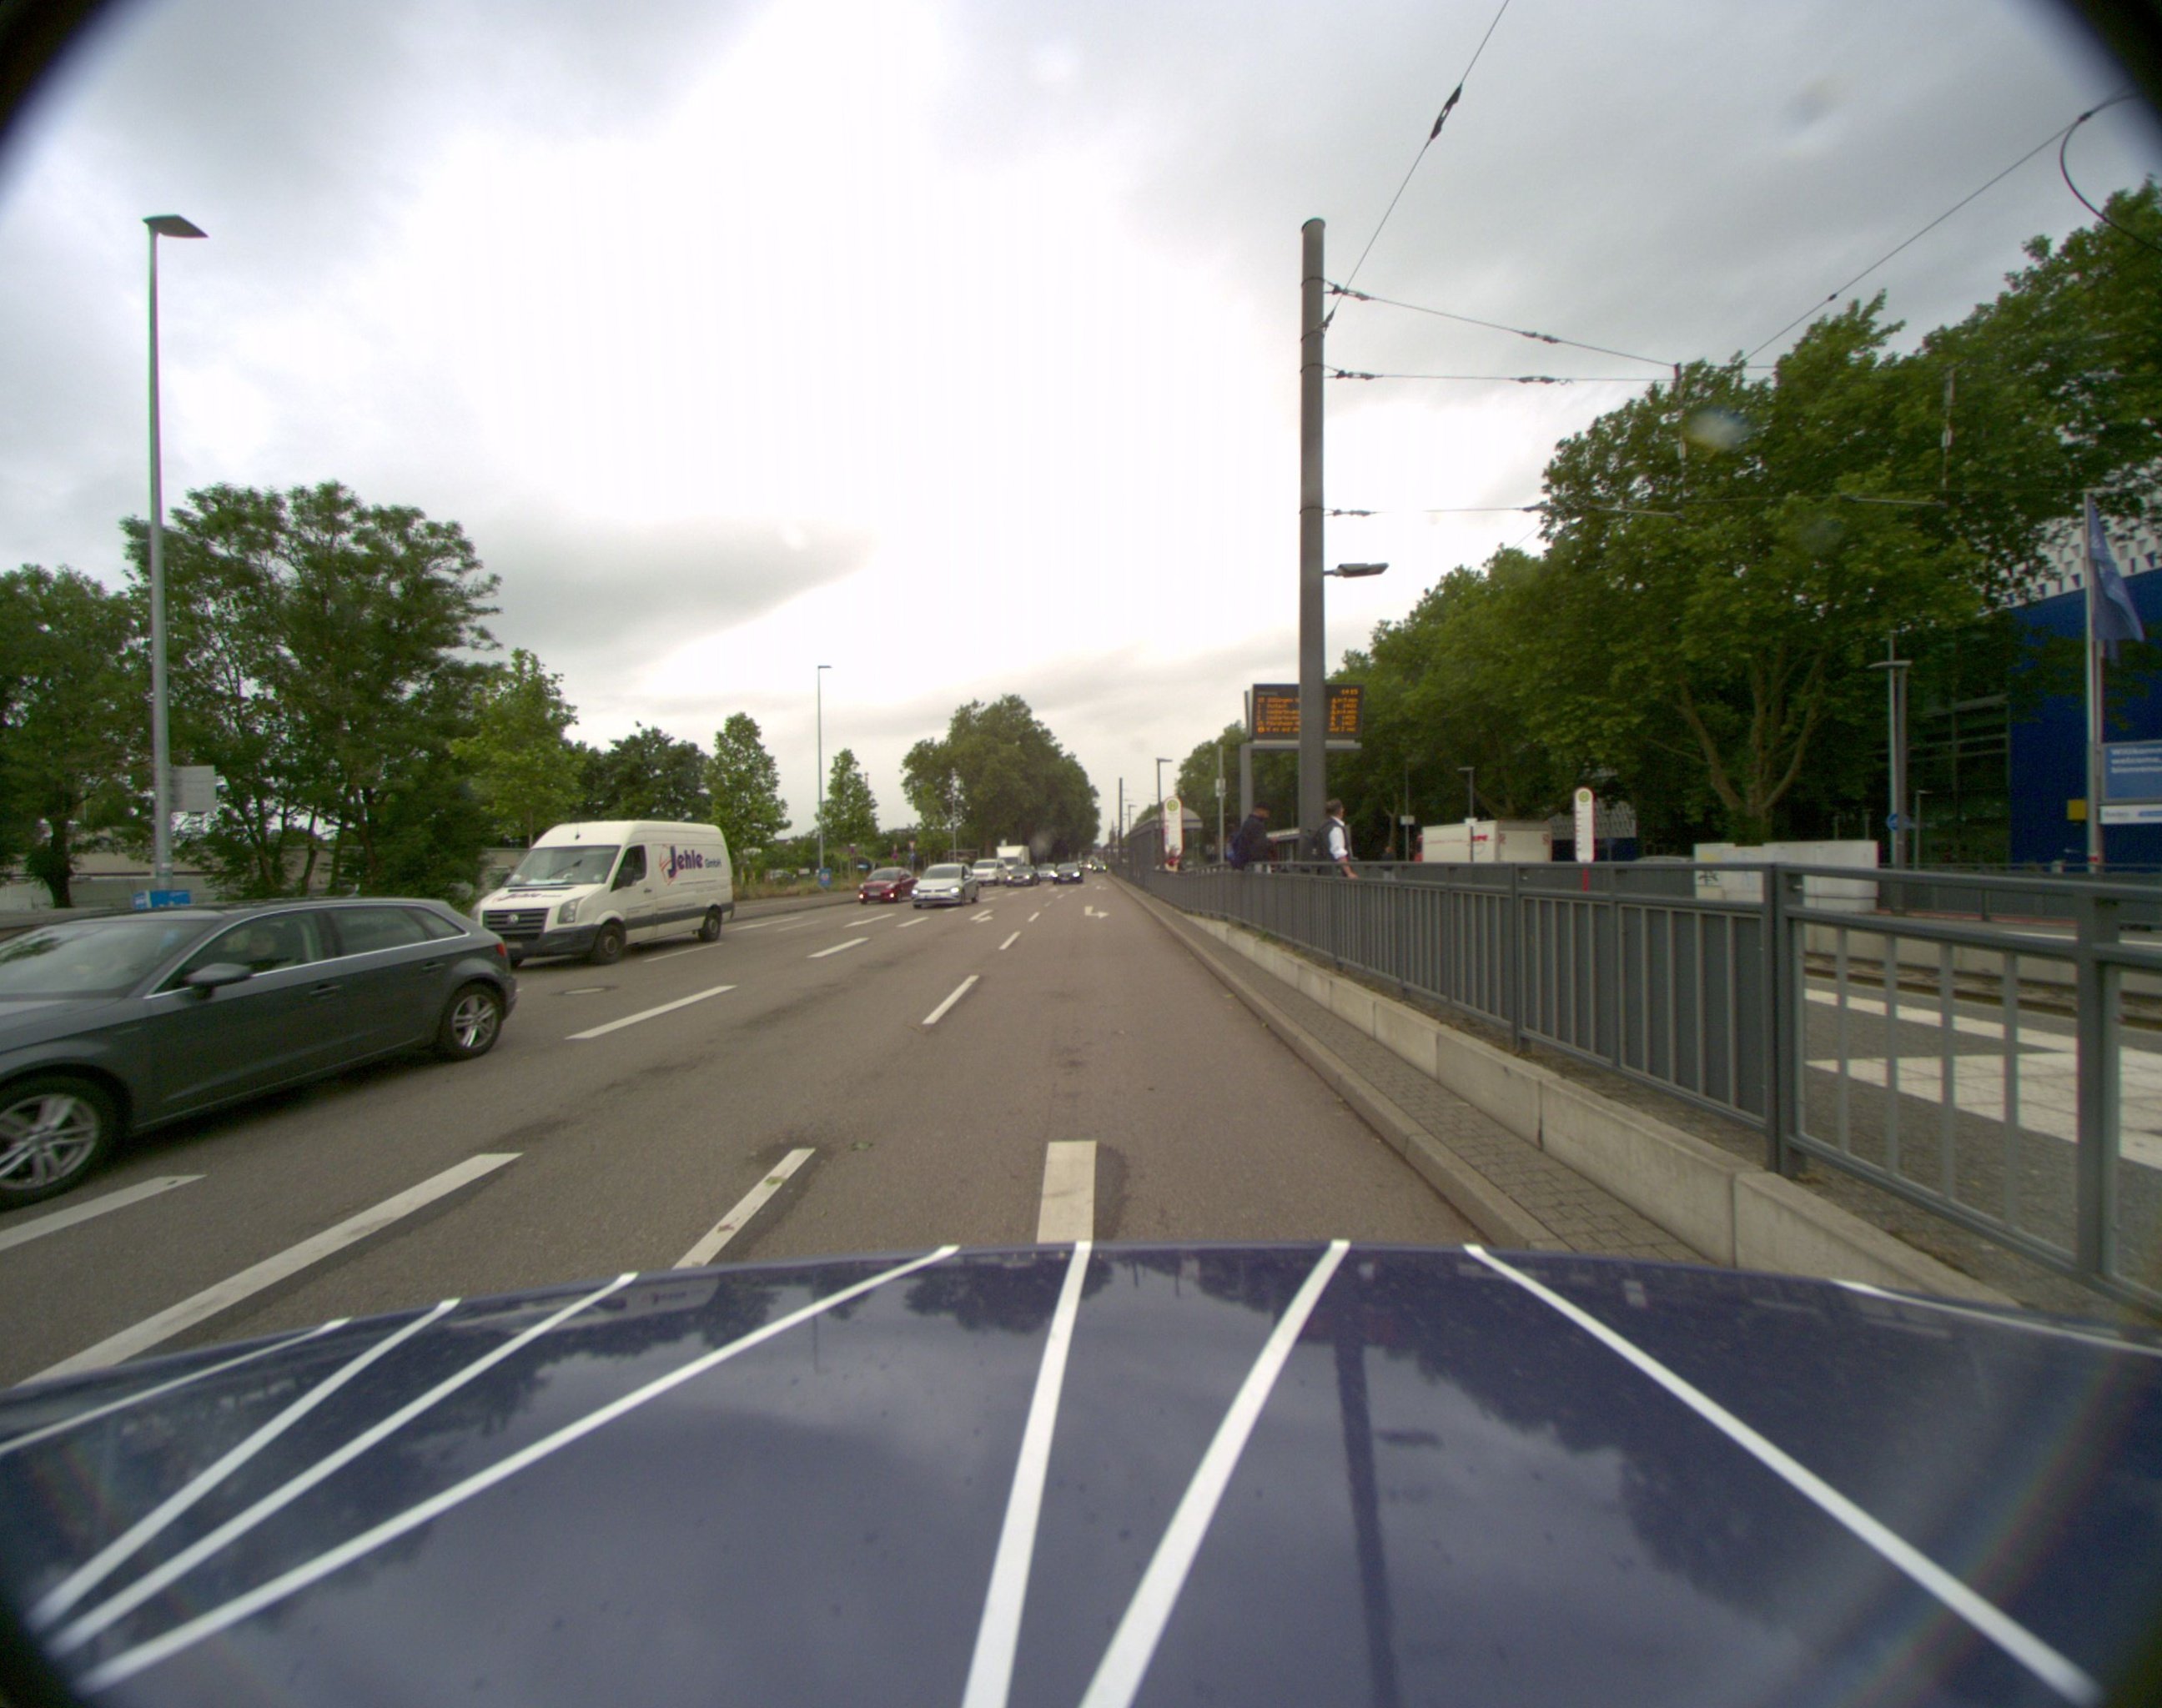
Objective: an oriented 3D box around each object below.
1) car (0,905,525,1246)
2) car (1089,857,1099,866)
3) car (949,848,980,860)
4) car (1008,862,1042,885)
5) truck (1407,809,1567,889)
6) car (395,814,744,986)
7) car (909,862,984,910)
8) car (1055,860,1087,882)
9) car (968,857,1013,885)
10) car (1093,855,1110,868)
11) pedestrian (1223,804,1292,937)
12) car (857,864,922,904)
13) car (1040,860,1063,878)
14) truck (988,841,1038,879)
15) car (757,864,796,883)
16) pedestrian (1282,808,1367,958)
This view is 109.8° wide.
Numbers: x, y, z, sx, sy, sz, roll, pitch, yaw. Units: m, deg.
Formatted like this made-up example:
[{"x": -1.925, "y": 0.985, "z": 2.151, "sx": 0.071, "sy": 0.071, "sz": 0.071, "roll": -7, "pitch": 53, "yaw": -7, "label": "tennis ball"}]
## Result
[{"x": -5.936, "y": 1.175, "z": 4.823, "sx": 1.742, "sy": 1.393, "sz": 4.077, "roll": -2, "pitch": 0, "yaw": 1, "label": "car"}, {"x": 2.558, "y": 1.477, "z": 146.307, "sx": 1.712, "sy": 1.664, "sz": 3.715, "roll": 0, "pitch": 0, "yaw": 4, "label": "car"}, {"x": -16.052, "y": 0.038, "z": 105.182, "sx": 3.998, "sy": 1.499, "sz": 1.810, "roll": -2, "pitch": 1, "yaw": -3, "label": "car"}, {"x": -3.632, "y": 1.263, "z": 49.950, "sx": 1.875, "sy": 1.382, "sz": 4.344, "roll": -2, "pitch": 0, "yaw": 0, "label": "car"}, {"x": 21.091, "y": -0.211, "z": 40.486, "sx": 3.259, "sy": 3.642, "sz": 9.897, "roll": 1, "pitch": 0, "yaw": 1, "label": "truck"}, {"x": -9.325, "y": 0.735, "z": 14.855, "sx": 2.663, "sy": 2.610, "sz": 5.900, "roll": -2, "pitch": 0, "yaw": 1, "label": "car"}, {"x": -4.880, "y": 1.130, "z": 28.216, "sx": 1.859, "sy": 1.543, "sz": 4.202, "roll": -2, "pitch": 0, "yaw": 2, "label": "car"}, {"x": -0.641, "y": 1.130, "z": 51.457, "sx": 1.998, "sy": 1.382, "sz": 4.344, "roll": -2, "pitch": 0, "yaw": 0, "label": "car"}, {"x": -6.479, "y": 1.193, "z": 54.825, "sx": 2.098, "sy": 1.869, "sz": 5.122, "roll": -2, "pitch": 0, "yaw": 5, "label": "car"}, {"x": 2.898, "y": 1.016, "z": 106.026, "sx": 1.960, "sy": 1.674, "sz": 4.001, "roll": -2, "pitch": 1, "yaw": 6, "label": "car"}, {"x": 2.388, "y": 0.222, "z": 10.343, "sx": 0.787, "sy": 1.732, "sz": 0.587, "roll": -2, "pitch": 1, "yaw": 5, "label": "pedestrian"}, {"x": -8.260, "y": 1.278, "z": 33.097, "sx": 1.654, "sy": 1.552, "sz": 3.772, "roll": -2, "pitch": 0, "yaw": 2, "label": "car"}, {"x": -2.436, "y": 1.253, "z": 64.233, "sx": 1.682, "sy": 1.410, "sz": 3.850, "roll": -2, "pitch": 0, "yaw": 1, "label": "car"}, {"x": -5.610, "y": 0.509, "z": 63.726, "sx": 2.825, "sy": 2.906, "sz": 6.547, "roll": -2, "pitch": 0, "yaw": 6, "label": "truck"}, {"x": -32.951, "y": 2.088, "z": 82.440, "sx": 2.316, "sy": 2.001, "sz": 4.559, "roll": -2, "pitch": -1, "yaw": 1, "label": "car"}, {"x": 2.643, "y": 0.305, "z": 8.314, "sx": 0.710, "sy": 1.551, "sz": 0.632, "roll": -2, "pitch": 1, "yaw": 4, "label": "pedestrian"}]
